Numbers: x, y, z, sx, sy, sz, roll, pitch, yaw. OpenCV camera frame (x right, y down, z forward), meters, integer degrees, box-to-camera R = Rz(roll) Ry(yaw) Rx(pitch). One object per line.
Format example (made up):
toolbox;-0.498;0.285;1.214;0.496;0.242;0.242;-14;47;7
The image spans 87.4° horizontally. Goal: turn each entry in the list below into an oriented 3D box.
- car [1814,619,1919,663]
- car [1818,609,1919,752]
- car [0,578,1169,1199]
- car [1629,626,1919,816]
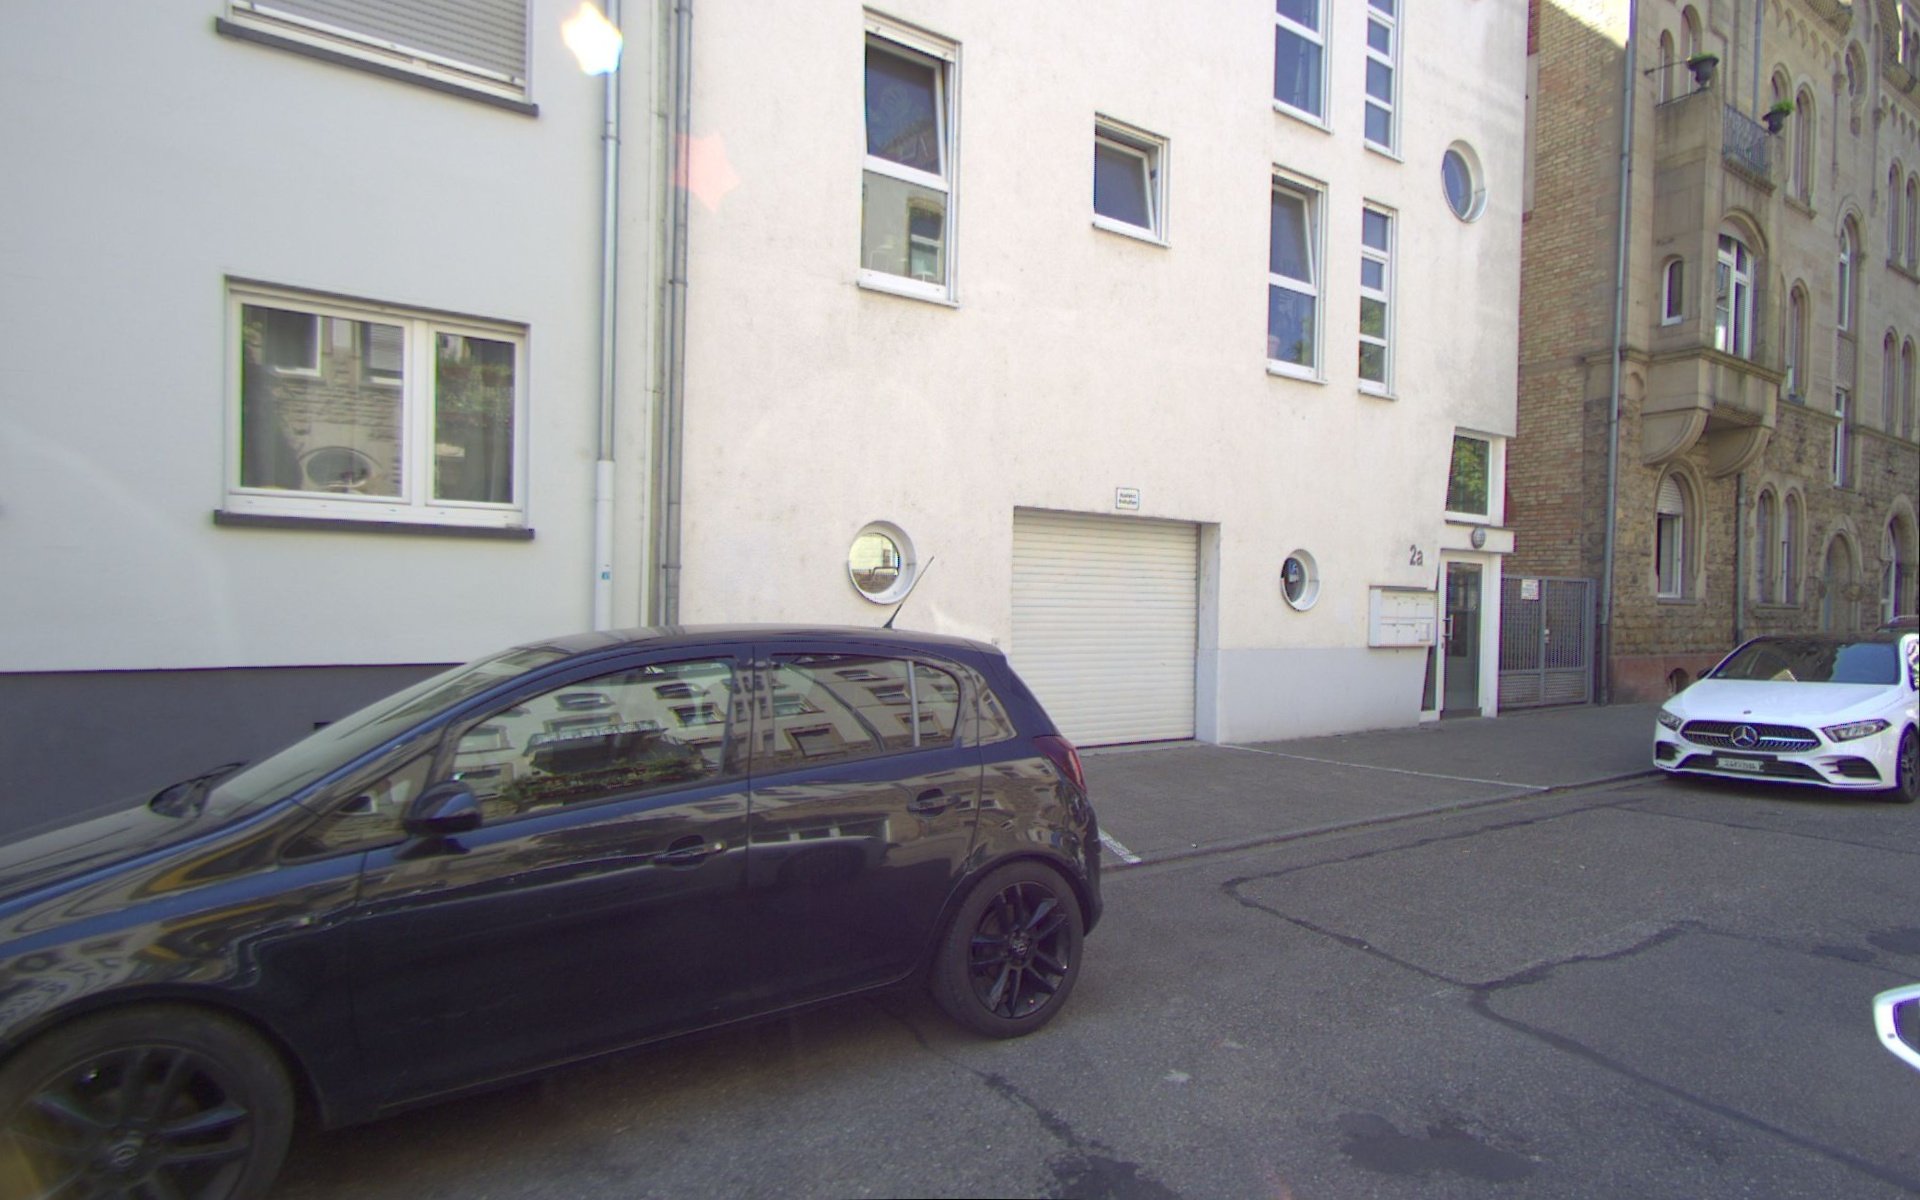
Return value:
car;35.361;1.545;38.216;1.788;1.583;4.022;1;-1;-34
car;12.394;0.958;12.482;4.012;1.603;1.662;2;-2;-35
car;-1.199;0.766;3.540;3.852;1.511;1.558;2;-2;-33
car;8.438;1.021;9.808;4.236;1.479;1.765;2;-2;-35
